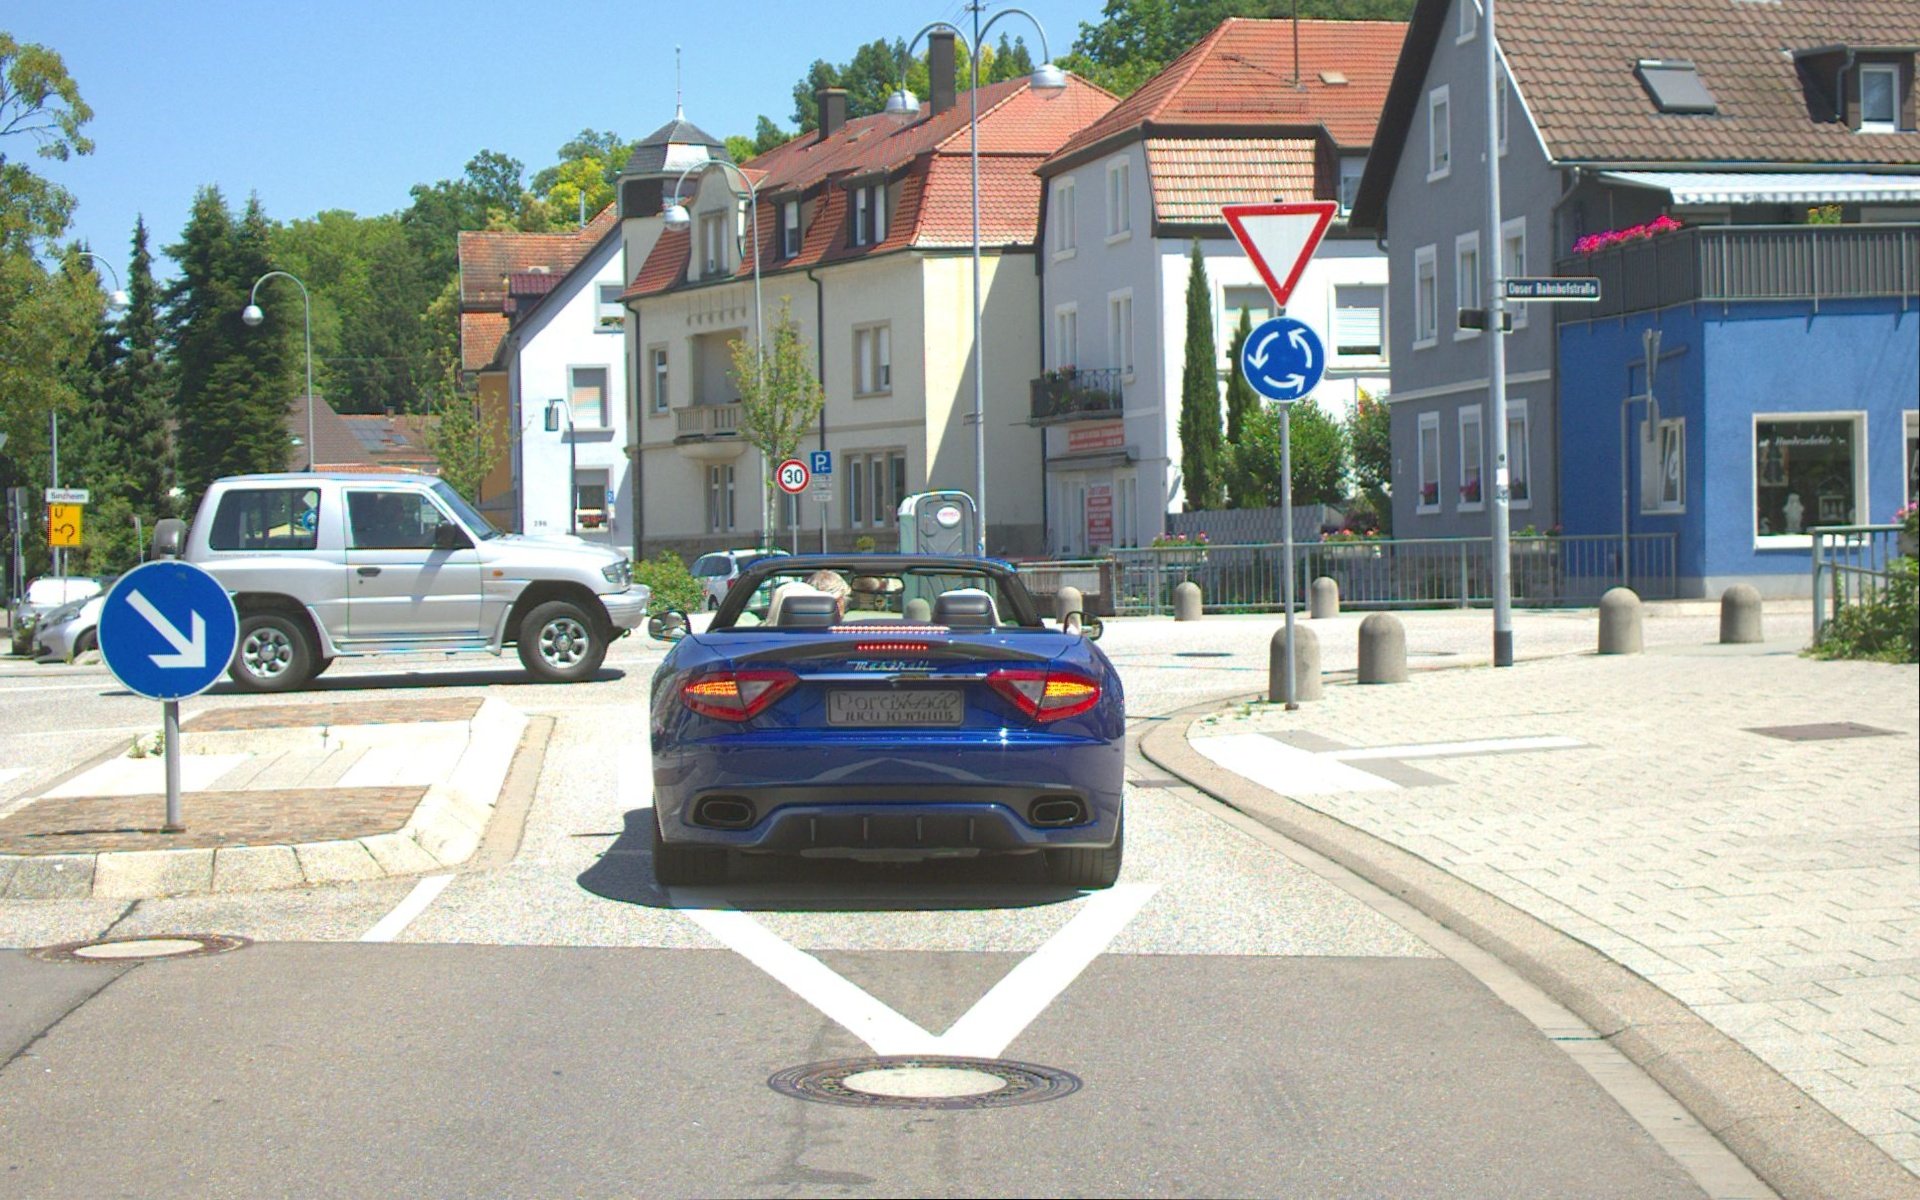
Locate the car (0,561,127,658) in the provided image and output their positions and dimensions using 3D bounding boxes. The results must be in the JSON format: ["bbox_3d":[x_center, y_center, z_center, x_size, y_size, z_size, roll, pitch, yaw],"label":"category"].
[{"bbox_3d":[-15.445,0.138,58.737,1.993,1.504,4.001,-3,1,-9],"label":"car"}]

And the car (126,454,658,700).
[{"bbox_3d":[-4.764,-0.209,29.291,4.216,1.868,1.763,-2,1,-2],"label":"car"}]

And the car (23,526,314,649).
[{"bbox_3d":[-10.354,-0.175,44.974,3.458,1.445,1.580,-3,1,-22],"label":"car"}]

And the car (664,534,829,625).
[{"bbox_3d":[-4.126,-0.375,65.790,1.918,1.607,4.148,-2,0,-21],"label":"car"}]

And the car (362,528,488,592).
[{"bbox_3d":[-14.440,-1.070,92.665,1.850,1.582,4.000,-3,2,-32],"label":"car"}]

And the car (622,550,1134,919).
[{"bbox_3d":[-0.326,0.474,15.011,1.910,1.356,4.286,0,1,-1],"label":"car"}]

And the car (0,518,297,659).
[{"bbox_3d":[-8.654,-0.120,36.331,1.993,1.325,4.201,-3,1,-29],"label":"car"}]
